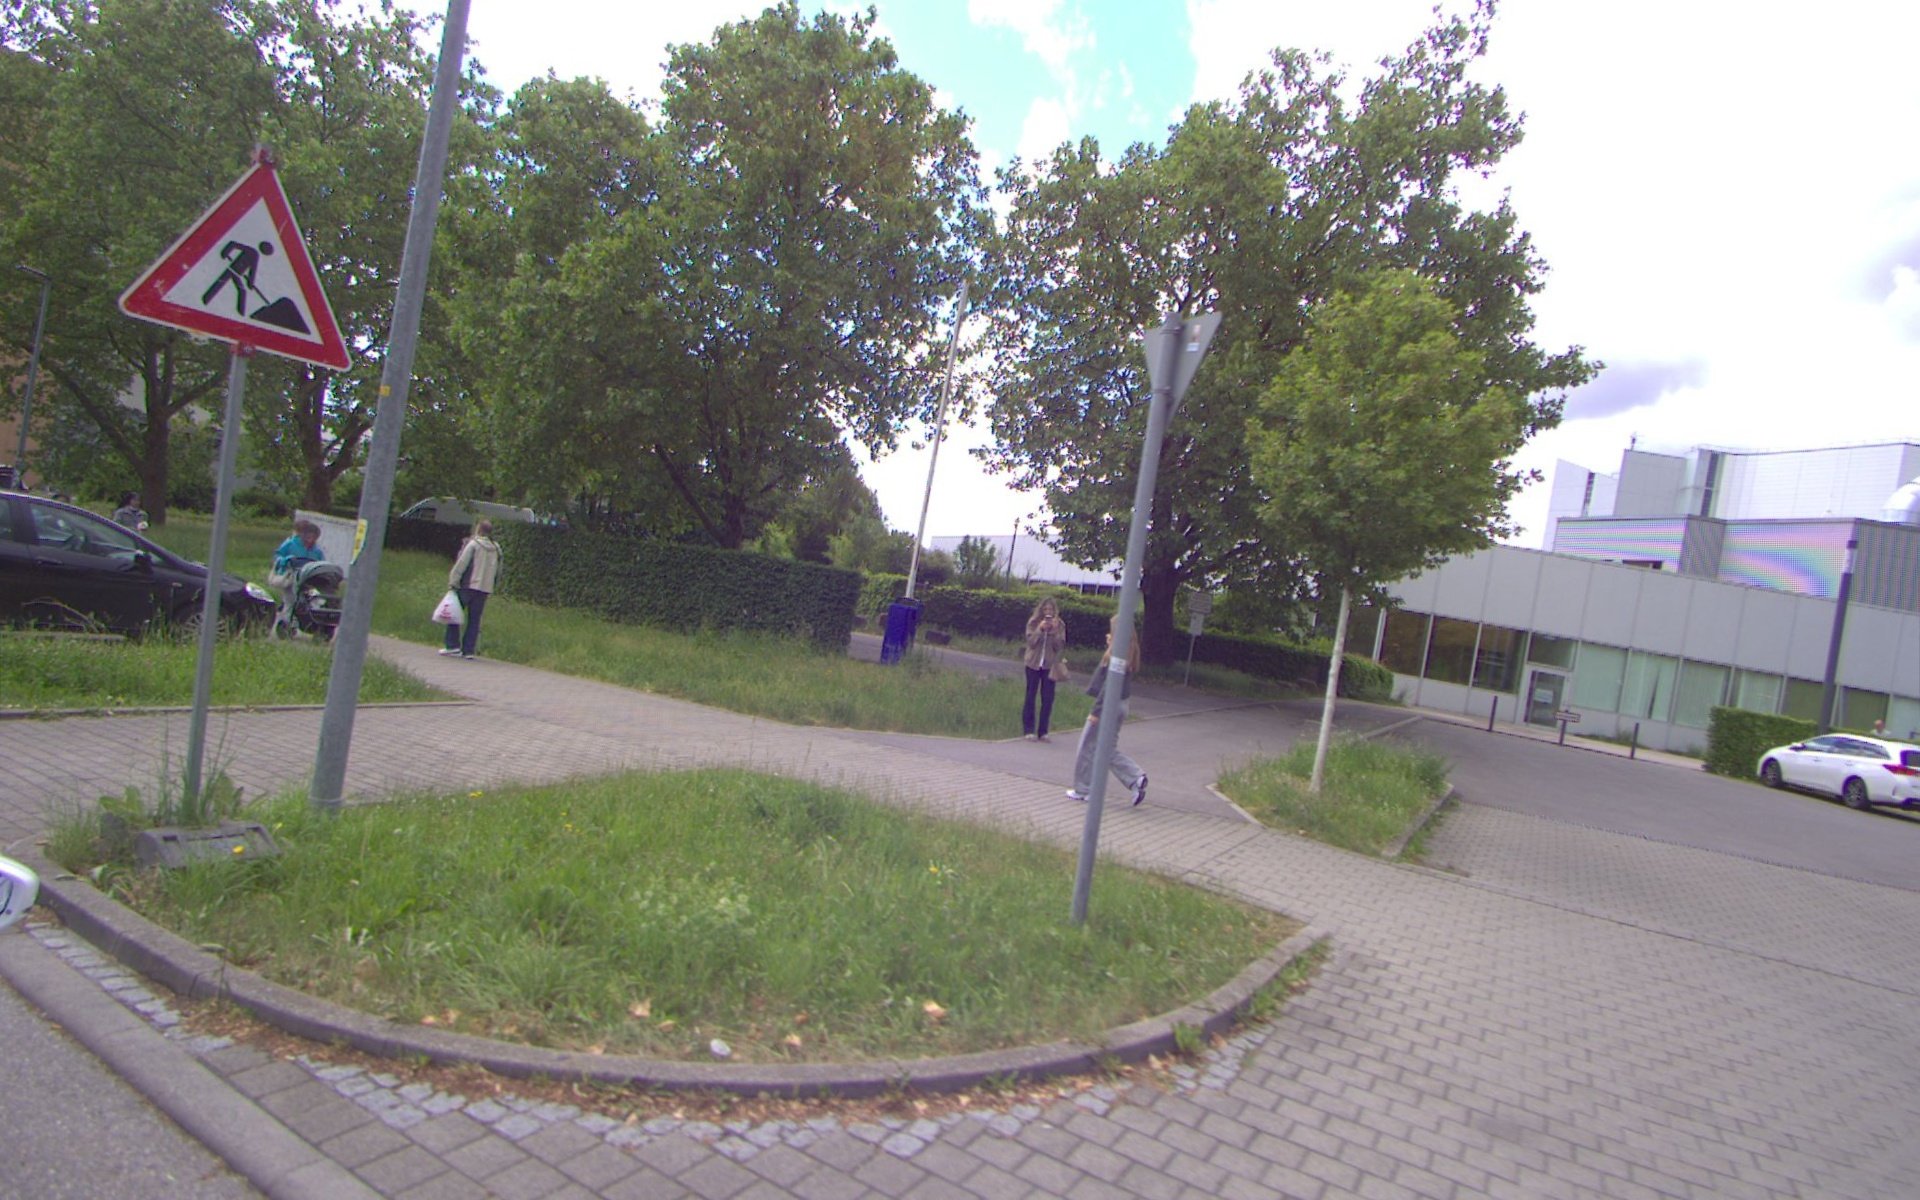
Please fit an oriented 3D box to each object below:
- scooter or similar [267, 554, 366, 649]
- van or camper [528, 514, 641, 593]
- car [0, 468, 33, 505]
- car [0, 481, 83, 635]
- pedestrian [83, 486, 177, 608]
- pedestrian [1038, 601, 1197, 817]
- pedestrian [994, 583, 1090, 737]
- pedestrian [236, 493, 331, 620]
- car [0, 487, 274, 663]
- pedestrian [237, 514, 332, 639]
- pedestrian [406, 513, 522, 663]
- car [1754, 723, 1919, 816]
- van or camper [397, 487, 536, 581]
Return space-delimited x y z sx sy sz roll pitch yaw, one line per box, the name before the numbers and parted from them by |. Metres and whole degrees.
scooter or similar | -8.082 0.017 12.634 0.928 1.035 0.581 8 -1 30
van or camper | -17.148 -2.058 45.933 4.425 2.831 2.103 9 -1 -24
car | -48.422 -5.820 50.833 3.718 1.680 1.567 7 1 36
car | -11.549 -0.656 10.137 1.566 1.593 3.676 8 -1 31
pedestrian | -13.376 -0.846 16.222 0.863 1.814 0.741 8 0 30
pedestrian | 1.344 0.908 8.577 0.918 1.640 0.687 8 -1 39
pedestrian | 0.983 0.721 12.065 0.695 1.731 0.654 8 0 36
pedestrian | -10.538 -0.676 15.681 0.863 1.814 0.741 8 0 30
car | -9.189 -0.314 9.821 1.618 1.516 3.676 8 -1 31
pedestrian | -8.761 -0.300 13.053 0.723 1.486 0.620 8 0 30
pedestrian | -6.532 -0.145 13.273 0.863 1.814 0.832 8 0 30
car | 19.050 3.569 21.204 1.677 1.407 4.123 8 -2 9
van or camper | -19.296 -2.524 39.359 4.436 2.831 2.098 9 -1 -31
